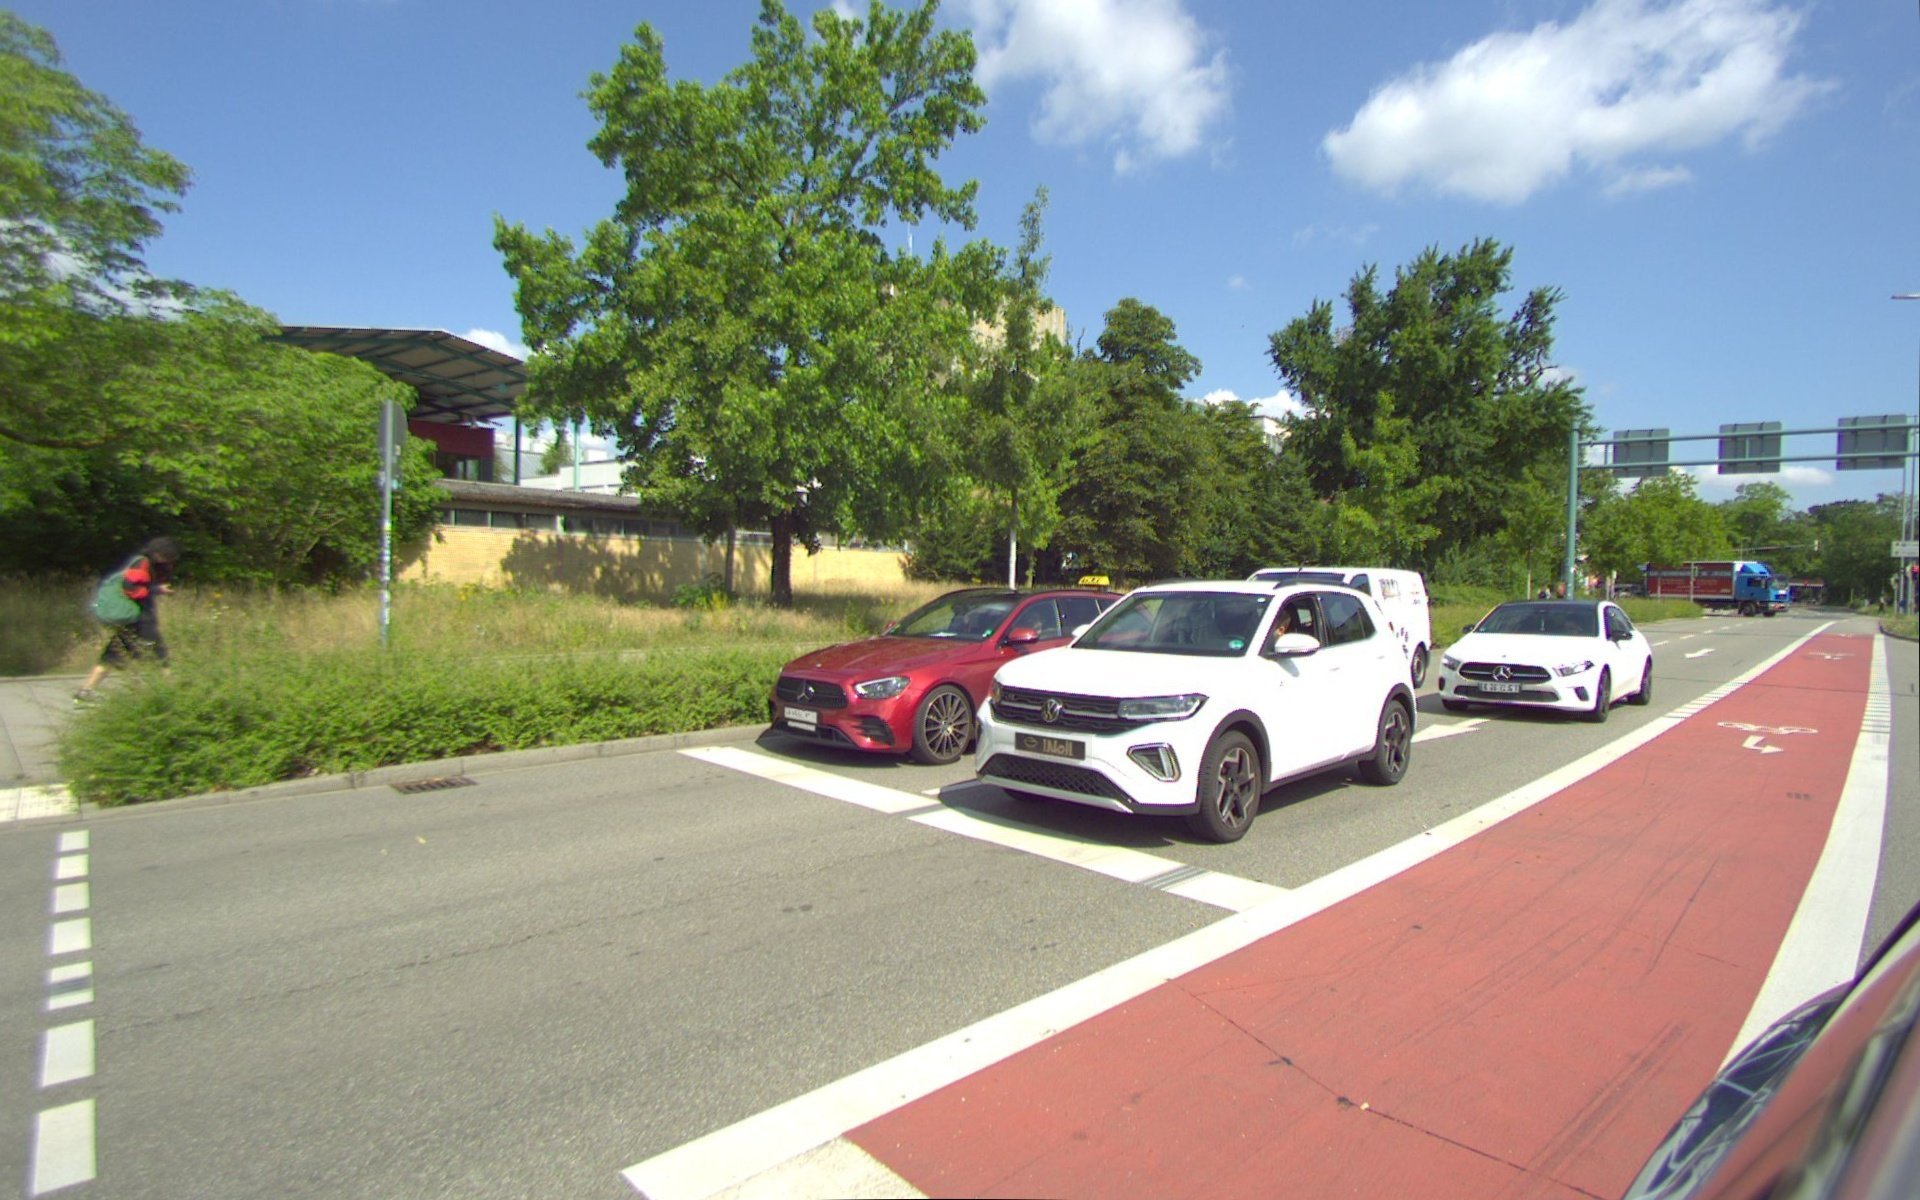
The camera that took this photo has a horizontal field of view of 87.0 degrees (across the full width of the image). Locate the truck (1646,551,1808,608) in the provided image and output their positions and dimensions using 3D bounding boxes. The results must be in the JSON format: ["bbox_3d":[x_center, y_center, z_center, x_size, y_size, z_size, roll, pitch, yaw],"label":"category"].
[{"bbox_3d":[55.267,-1.518,73.332,2.610,3.846,9.209,1,1,-24],"label":"truck"}]

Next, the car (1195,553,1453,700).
[{"bbox_3d":[5.695,0.304,15.460,1.943,1.893,4.749,2,2,44],"label":"car"}]

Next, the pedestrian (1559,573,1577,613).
[{"bbox_3d":[28.043,-0.305,46.694,0.567,1.824,0.629,2,1,43],"label":"pedestrian"}]

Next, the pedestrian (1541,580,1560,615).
[{"bbox_3d":[27.574,-0.140,47.251,0.623,1.600,0.697,2,1,43],"label":"pedestrian"}]

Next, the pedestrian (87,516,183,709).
[{"bbox_3d":[-7.934,0.103,9.729,0.667,1.757,0.743,0,1,-43],"label":"pedestrian"}]

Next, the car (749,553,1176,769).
[{"bbox_3d":[0.238,0.442,9.988,1.681,1.661,4.393,1,1,43],"label":"car"}]

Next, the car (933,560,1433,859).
[{"bbox_3d":[1.820,0.561,7.348,1.791,1.559,3.948,0,0,43],"label":"car"}]

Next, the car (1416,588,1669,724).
[{"bbox_3d":[7.778,0.604,13.316,1.904,1.441,4.315,2,2,44],"label":"car"}]
